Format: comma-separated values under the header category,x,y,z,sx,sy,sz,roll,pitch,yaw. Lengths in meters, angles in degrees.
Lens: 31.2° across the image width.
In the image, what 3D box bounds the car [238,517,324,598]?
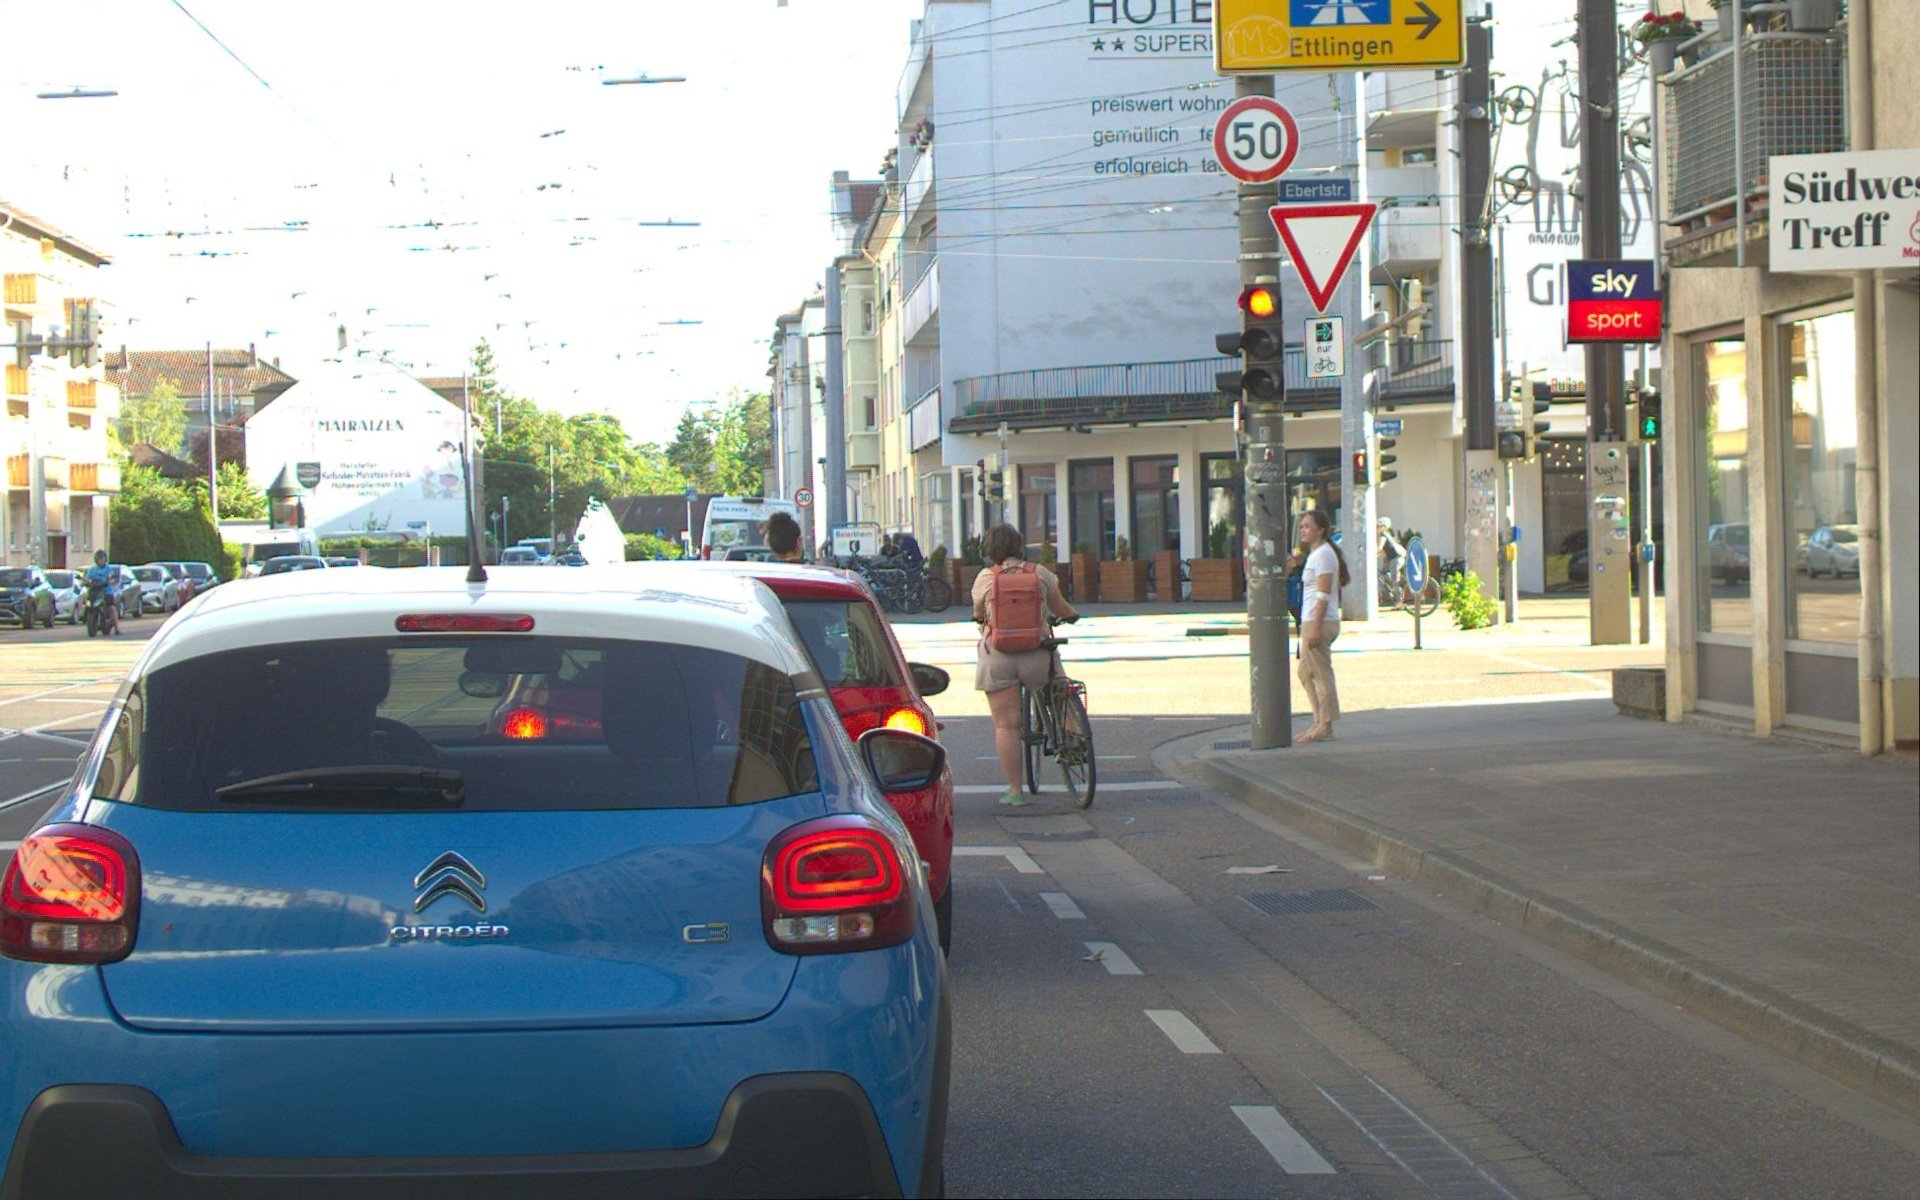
category,x,y,z,sx,sy,sz,roll,pitch,yaw
car,-23.651,-1.504,119.918,2.493,2.703,5.839,-1,1,-7

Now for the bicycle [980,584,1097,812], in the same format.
category,x,y,z,sx,sy,sz,roll,pitch,yaw
bicycle,0.455,0.558,20.624,0.613,1.260,1.911,-1,1,-1

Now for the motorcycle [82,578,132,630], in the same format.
category,x,y,z,sx,sy,sz,roll,pitch,yaw
motorcycle,-16.685,0.073,67.269,0.751,0.973,2.098,-1,1,-9

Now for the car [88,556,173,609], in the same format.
category,x,y,z,sx,sy,sz,roll,pitch,yaw
car,-24.915,-0.541,103.361,1.950,1.514,4.001,-1,1,-6

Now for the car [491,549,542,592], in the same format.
category,x,y,z,sx,sy,sz,roll,pitch,yaw
car,-22.032,-1.503,170.824,2.338,2.032,5.051,-1,1,-6

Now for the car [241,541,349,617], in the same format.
category,x,y,z,sx,sy,sz,roll,pitch,yaw
car,-14.918,-0.503,77.343,2.004,1.622,5.054,-1,1,-7

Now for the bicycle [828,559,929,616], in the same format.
category,x,y,z,sx,sy,sz,roll,pitch,yaw
bicycle,-1.598,-0.239,67.102,1.904,1.061,0.642,-1,1,-7

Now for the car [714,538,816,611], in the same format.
category,x,y,z,sx,sy,sz,roll,pitch,yaw
car,-3.873,-0.518,67.787,1.786,1.354,3.915,-1,1,-6

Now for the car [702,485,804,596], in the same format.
category,x,y,z,sx,sy,sz,roll,pitch,yaw
car,-4.423,-1.280,73.223,2.079,2.262,5.652,0,1,-4

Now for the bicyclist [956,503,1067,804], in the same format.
category,x,y,z,sx,sy,sz,roll,pitch,yaw
bicyclist,0.298,0.302,20.581,0.600,1.740,1.084,-1,1,-1

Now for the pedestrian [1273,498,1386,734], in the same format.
category,x,y,z,sx,sy,sz,roll,pitch,yaw
pedestrian,2.609,0.107,24.291,0.751,1.629,0.740,-1,1,6

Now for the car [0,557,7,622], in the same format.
category,x,y,z,sx,sy,sz,roll,pitch,yaw
car,-23.311,-0.193,79.208,1.950,1.514,4.001,-1,1,-6

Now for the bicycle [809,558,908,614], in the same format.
category,x,y,z,sx,sy,sz,roll,pitch,yaw
bicycle,-2.017,-0.277,68.295,1.904,1.061,0.642,-1,1,-7

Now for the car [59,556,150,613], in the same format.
category,x,y,z,sx,sy,sz,roll,pitch,yaw
car,-24.448,-0.457,98.357,1.950,1.514,4.001,-1,1,-6

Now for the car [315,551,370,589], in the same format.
category,x,y,z,sx,sy,sz,roll,pitch,yaw
car,-25.965,-1.281,144.552,1.950,1.514,4.001,-1,1,-6

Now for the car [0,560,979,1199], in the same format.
category,x,y,z,sx,sy,sz,roll,pitch,yaw
car,-0.952,0.668,7.357,1.680,1.457,4.001,0,1,-4

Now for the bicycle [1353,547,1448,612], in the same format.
category,x,y,z,sx,sy,sz,roll,pitch,yaw
bicycle,7.615,-0.356,59.469,1.491,1.087,0.605,-1,1,27

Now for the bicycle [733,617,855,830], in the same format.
category,x,y,z,sx,sy,sz,roll,pitch,yaw
bicycle,-0.970,0.679,19.731,0.616,1.099,1.886,-1,1,-5

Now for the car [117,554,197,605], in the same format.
category,x,y,z,sx,sy,sz,roll,pitch,yaw
car,-25.348,-0.672,108.640,1.950,1.514,4.001,-1,1,-6

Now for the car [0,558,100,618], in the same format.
category,x,y,z,sx,sy,sz,roll,pitch,yaw
car,-24.296,-0.335,91.930,1.950,1.514,4.001,-1,1,-6

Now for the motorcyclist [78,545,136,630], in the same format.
category,x,y,z,sx,sy,sz,roll,pitch,yaw
motorcyclist,-16.665,-0.252,67.195,0.991,1.625,0.739,-1,1,-9

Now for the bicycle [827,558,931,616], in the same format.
category,x,y,z,sx,sy,sz,roll,pitch,yaw
bicycle,-1.549,-0.245,65.796,1.904,1.061,0.642,-1,1,-7

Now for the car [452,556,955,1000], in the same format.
category,x,y,z,sx,sy,sz,roll,pitch,yaw
car,-0.998,0.576,13.567,1.680,1.457,4.001,0,1,-4

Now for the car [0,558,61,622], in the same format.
category,x,y,z,sx,sy,sz,roll,pitch,yaw
car,-23.776,-0.266,85.872,1.950,1.514,4.001,-1,1,-6

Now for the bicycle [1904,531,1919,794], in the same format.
category,x,y,z,sx,sy,sz,roll,pitch,yaw
bicycle,4.921,0.311,15.735,0.640,1.260,1.911,-1,1,-1

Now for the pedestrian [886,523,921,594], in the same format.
category,x,y,z,sx,sy,sz,roll,pitch,yaw
pedestrian,-1.144,-0.849,70.240,0.525,1.415,0.546,-1,1,20

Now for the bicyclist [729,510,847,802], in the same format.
category,x,y,z,sx,sy,sz,roll,pitch,yaw
bicyclist,-0.987,0.305,19.621,0.616,1.624,0.760,-1,1,-4

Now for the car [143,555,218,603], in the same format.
category,x,y,z,sx,sy,sz,roll,pitch,yaw
car,-26.058,-0.721,114.982,1.950,1.514,4.001,-1,1,-6

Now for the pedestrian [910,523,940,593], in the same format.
category,x,y,z,sx,sy,sz,roll,pitch,yaw
pedestrian,-0.711,-0.851,69.989,0.467,1.415,0.527,-2,1,-13

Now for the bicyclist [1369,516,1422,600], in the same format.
category,x,y,z,sx,sy,sz,roll,pitch,yaw
bicyclist,7.533,-0.725,59.490,0.728,1.429,0.605,-1,1,27
